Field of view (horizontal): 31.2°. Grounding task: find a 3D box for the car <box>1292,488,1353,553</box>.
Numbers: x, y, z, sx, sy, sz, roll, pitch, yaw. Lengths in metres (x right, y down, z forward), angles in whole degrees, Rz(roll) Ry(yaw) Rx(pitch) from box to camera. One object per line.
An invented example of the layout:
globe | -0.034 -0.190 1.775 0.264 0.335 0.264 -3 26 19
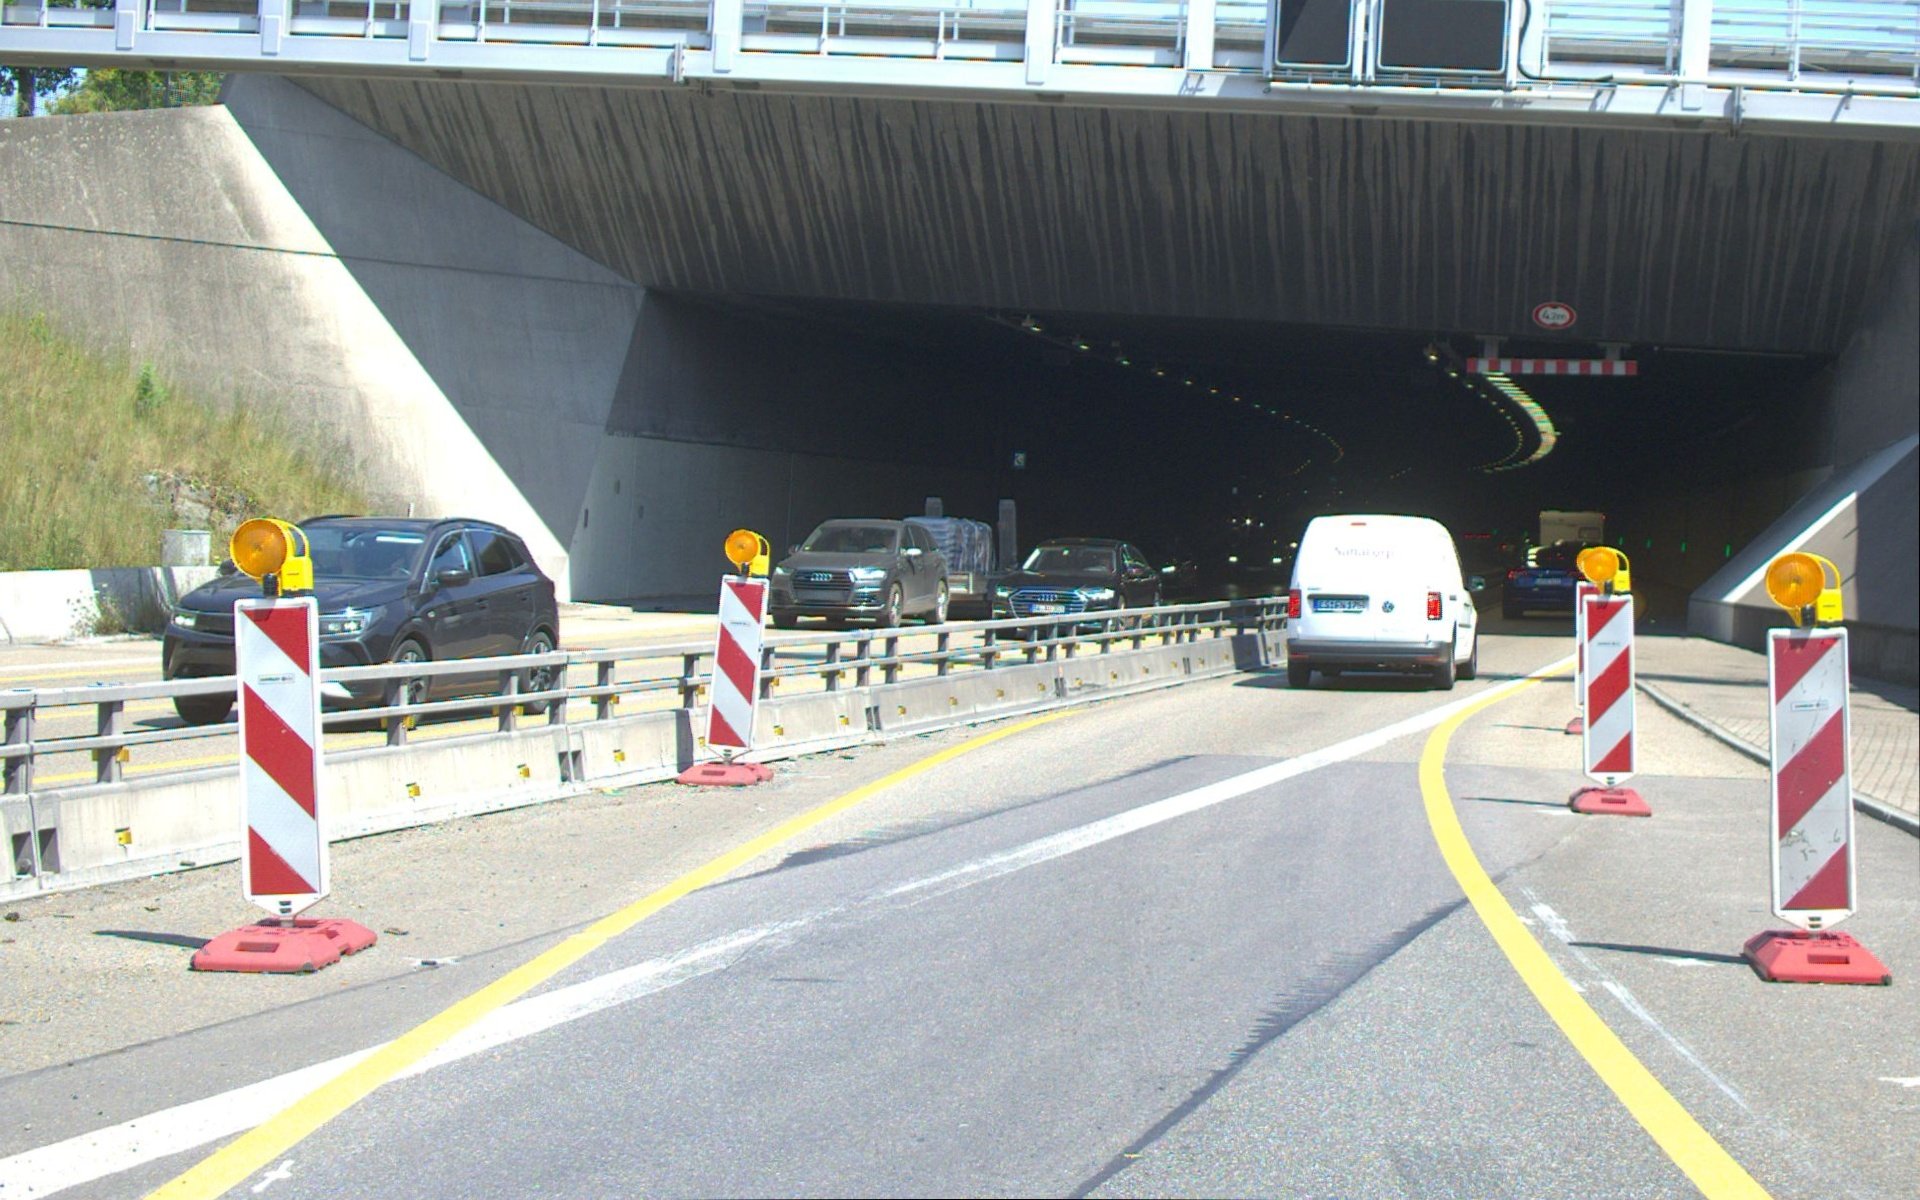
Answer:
car | 14.233 -3.128 134.830 1.994 2.506 6.040 1 2 9

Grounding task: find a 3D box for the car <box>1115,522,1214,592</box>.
car | 5.082 -1.088 84.851 1.774 1.661 4.805 1 2 11

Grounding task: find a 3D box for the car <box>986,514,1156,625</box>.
car | 1.749 -0.510 52.373 1.774 1.588 4.983 1 2 11

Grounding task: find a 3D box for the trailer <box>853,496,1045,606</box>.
trailer | -0.120 -0.888 59.730 1.948 1.799 5.519 1 2 15

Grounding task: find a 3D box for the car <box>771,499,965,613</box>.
car | -1.403 -0.728 54.703 1.775 1.721 4.864 1 2 15

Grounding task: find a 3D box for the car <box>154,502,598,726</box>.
car | -4.475 0.064 27.020 1.744 1.588 4.224 1 1 17

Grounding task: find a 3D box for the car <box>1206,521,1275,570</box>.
car | 9.034 -1.778 110.377 1.774 1.510 4.562 1 2 10

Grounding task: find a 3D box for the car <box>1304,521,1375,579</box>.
car | 10.761 -1.447 97.404 1.774 1.572 4.445 1 2 9

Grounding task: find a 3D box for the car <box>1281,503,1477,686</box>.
car | 4.583 -0.083 37.229 1.809 1.788 3.729 3 1 10

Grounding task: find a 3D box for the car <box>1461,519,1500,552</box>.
car | 32.193 -4.004 212.679 1.940 2.014 4.662 1 1 3

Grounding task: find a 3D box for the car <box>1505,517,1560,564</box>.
car | 26.929 -2.816 161.805 2.035 2.014 4.631 5 2 5

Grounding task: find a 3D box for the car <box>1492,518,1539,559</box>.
car | 28.652 -3.193 177.464 1.940 2.014 4.662 1 1 4

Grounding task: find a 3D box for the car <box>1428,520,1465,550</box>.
car | 33.597 -4.466 237.414 2.073 2.014 4.662 1 1 3

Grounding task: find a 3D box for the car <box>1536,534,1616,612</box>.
car | 15.407 -0.689 86.155 1.809 1.809 4.408 3 1 9

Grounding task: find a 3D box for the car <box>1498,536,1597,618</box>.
car | 11.892 -0.478 69.447 1.809 1.532 4.408 3 1 11

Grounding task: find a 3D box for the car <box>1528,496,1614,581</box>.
car | 22.445 -2.217 126.482 2.815 2.764 7.098 5 0 9

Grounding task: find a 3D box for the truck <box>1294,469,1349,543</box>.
truck | 19.637 -5.081 186.667 2.811 3.902 6.454 1 1 7
